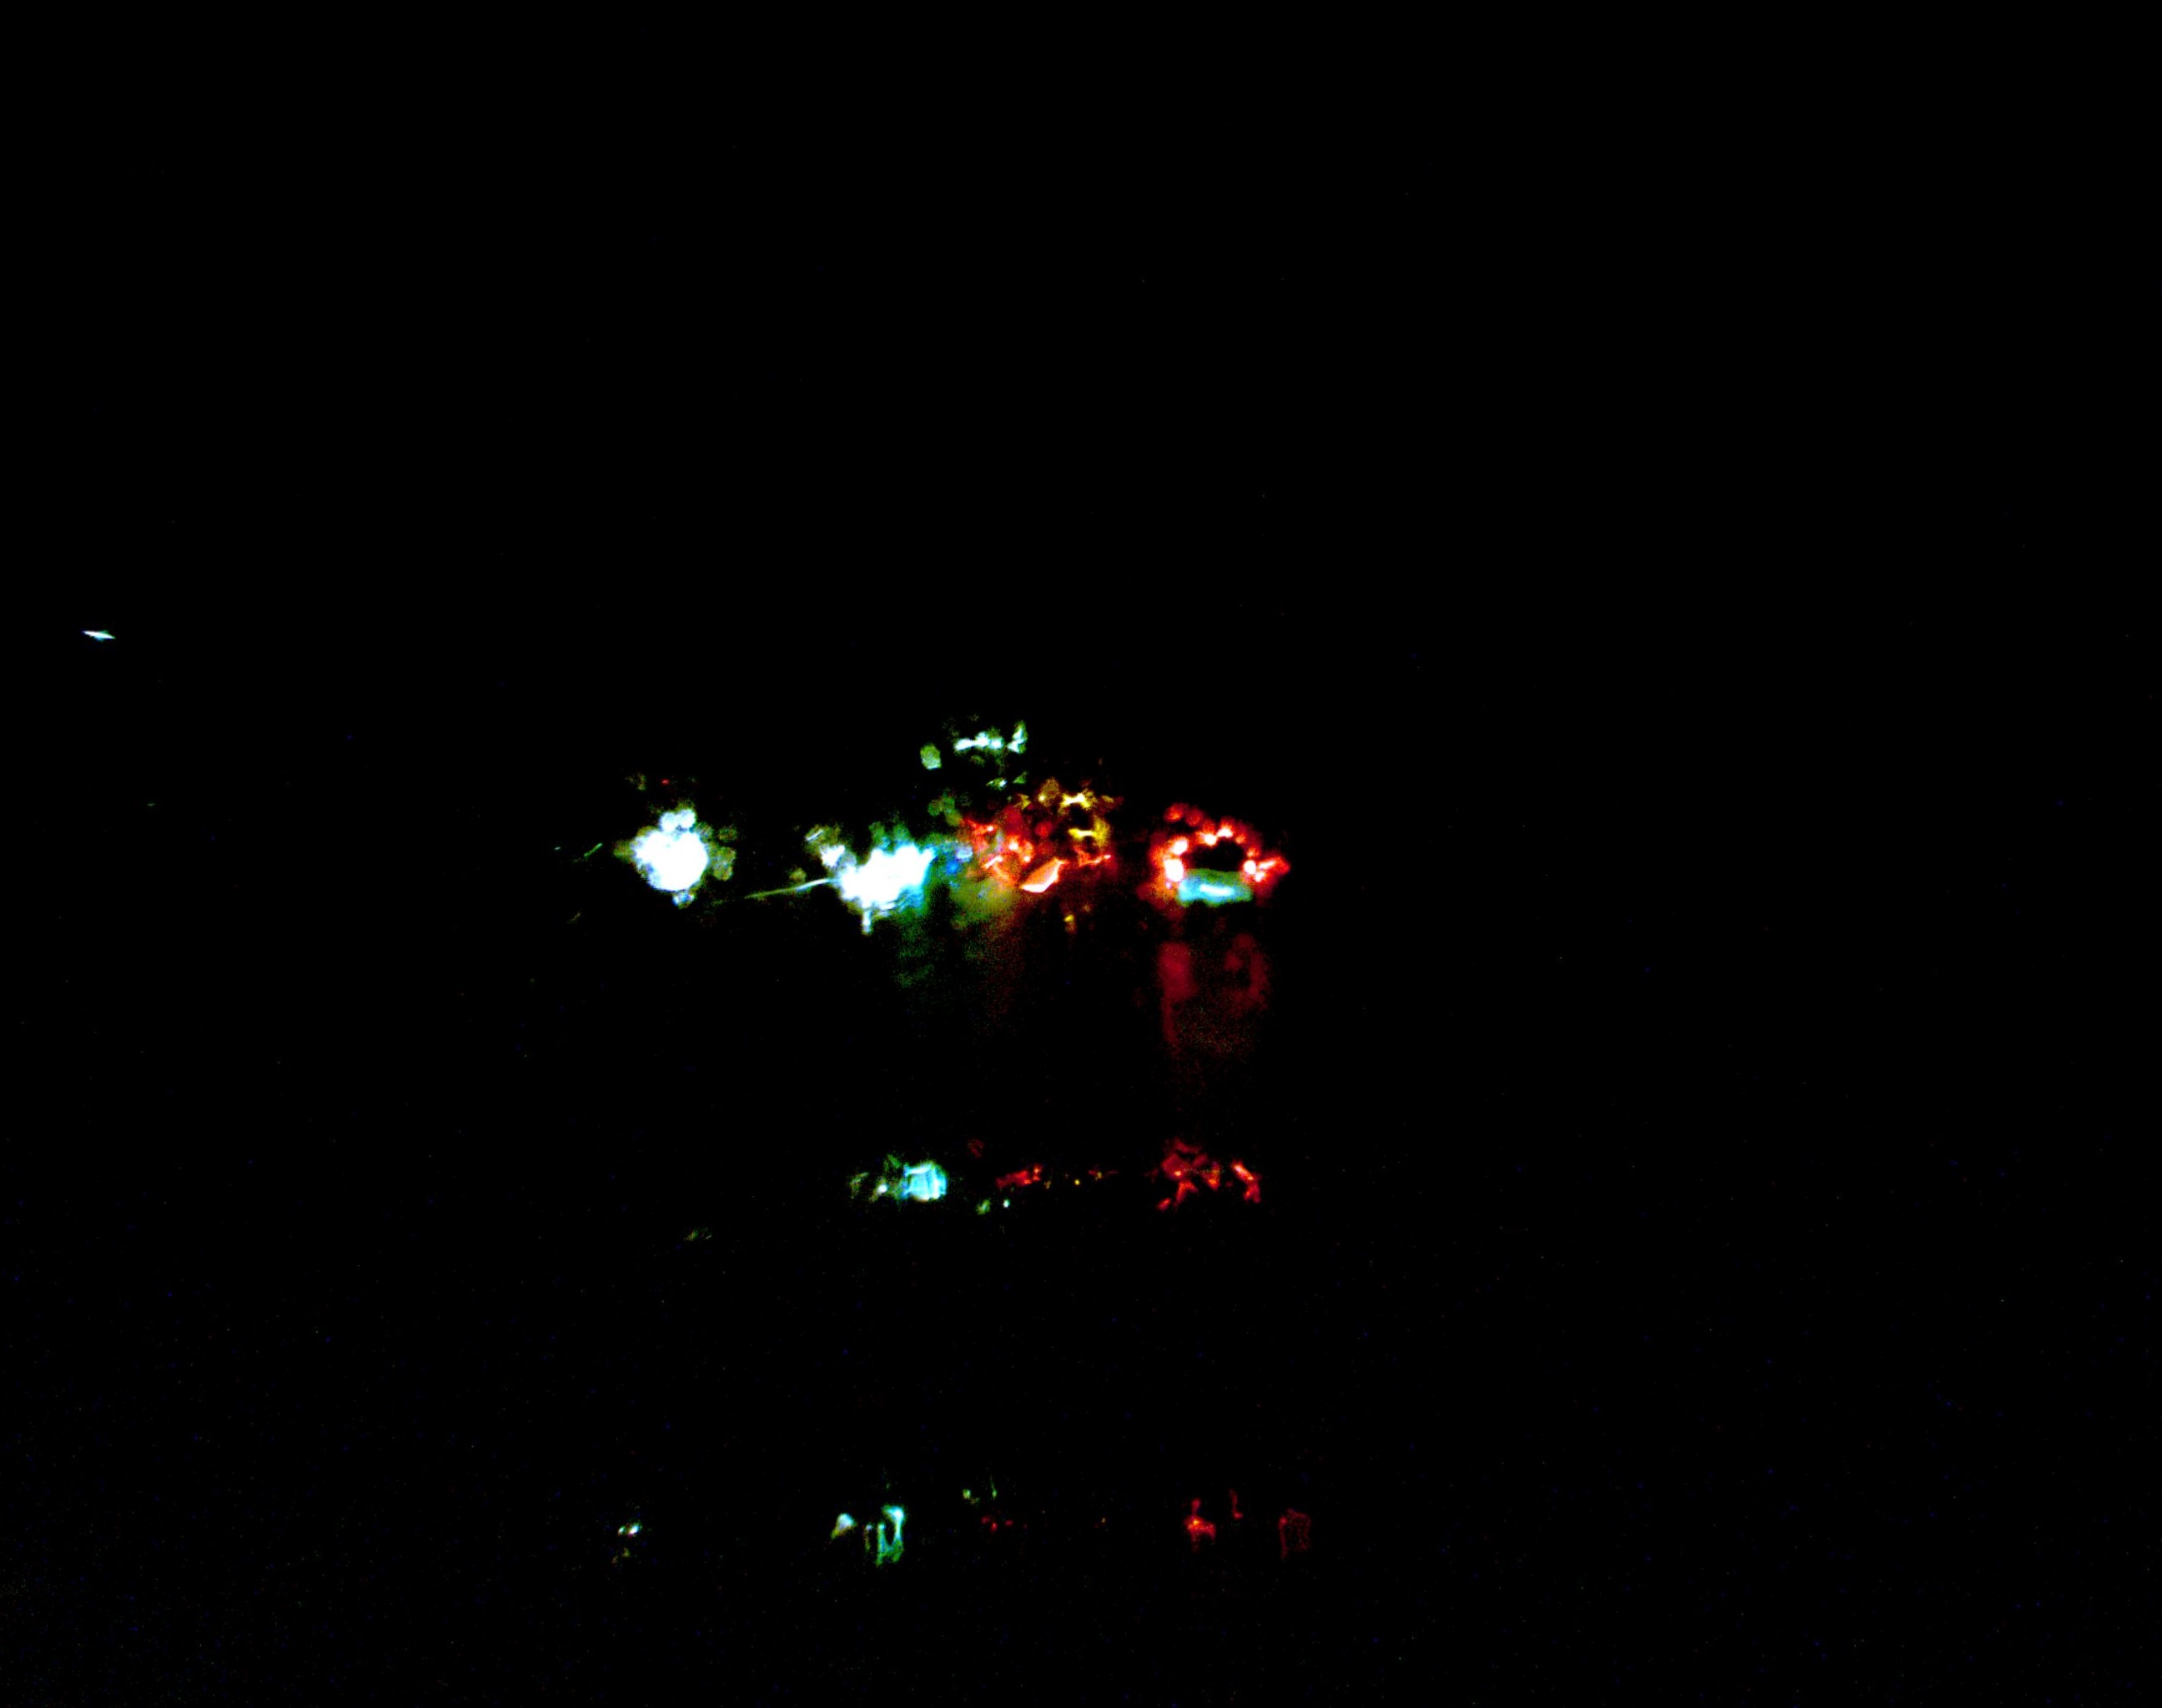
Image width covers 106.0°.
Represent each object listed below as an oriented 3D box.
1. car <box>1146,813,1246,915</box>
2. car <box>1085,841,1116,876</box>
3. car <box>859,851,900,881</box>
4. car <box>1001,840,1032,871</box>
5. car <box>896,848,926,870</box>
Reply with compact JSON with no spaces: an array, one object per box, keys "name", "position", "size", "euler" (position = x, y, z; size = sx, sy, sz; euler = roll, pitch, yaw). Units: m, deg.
[{"name":"car","position":[2.496,0.177,18.670],"size":[1.784,2.021,4.582],"euler":[-1,1,2]},{"name":"car","position":[1.208,0.232,49.276],"size":[1.784,2.021,4.582],"euler":[-1,1,2]},{"name":"car","position":[-11.102,0.648,45.021],"size":[1.801,1.588,4.019],"euler":[0,0,-9]},{"name":"car","position":[-3.911,0.081,49.798],"size":[1.780,1.782,4.429],"euler":[-1,1,-4]},{"name":"car","position":[-13.298,0.377,63.825],"size":[1.759,1.641,4.643],"euler":[0,0,-6]}]
